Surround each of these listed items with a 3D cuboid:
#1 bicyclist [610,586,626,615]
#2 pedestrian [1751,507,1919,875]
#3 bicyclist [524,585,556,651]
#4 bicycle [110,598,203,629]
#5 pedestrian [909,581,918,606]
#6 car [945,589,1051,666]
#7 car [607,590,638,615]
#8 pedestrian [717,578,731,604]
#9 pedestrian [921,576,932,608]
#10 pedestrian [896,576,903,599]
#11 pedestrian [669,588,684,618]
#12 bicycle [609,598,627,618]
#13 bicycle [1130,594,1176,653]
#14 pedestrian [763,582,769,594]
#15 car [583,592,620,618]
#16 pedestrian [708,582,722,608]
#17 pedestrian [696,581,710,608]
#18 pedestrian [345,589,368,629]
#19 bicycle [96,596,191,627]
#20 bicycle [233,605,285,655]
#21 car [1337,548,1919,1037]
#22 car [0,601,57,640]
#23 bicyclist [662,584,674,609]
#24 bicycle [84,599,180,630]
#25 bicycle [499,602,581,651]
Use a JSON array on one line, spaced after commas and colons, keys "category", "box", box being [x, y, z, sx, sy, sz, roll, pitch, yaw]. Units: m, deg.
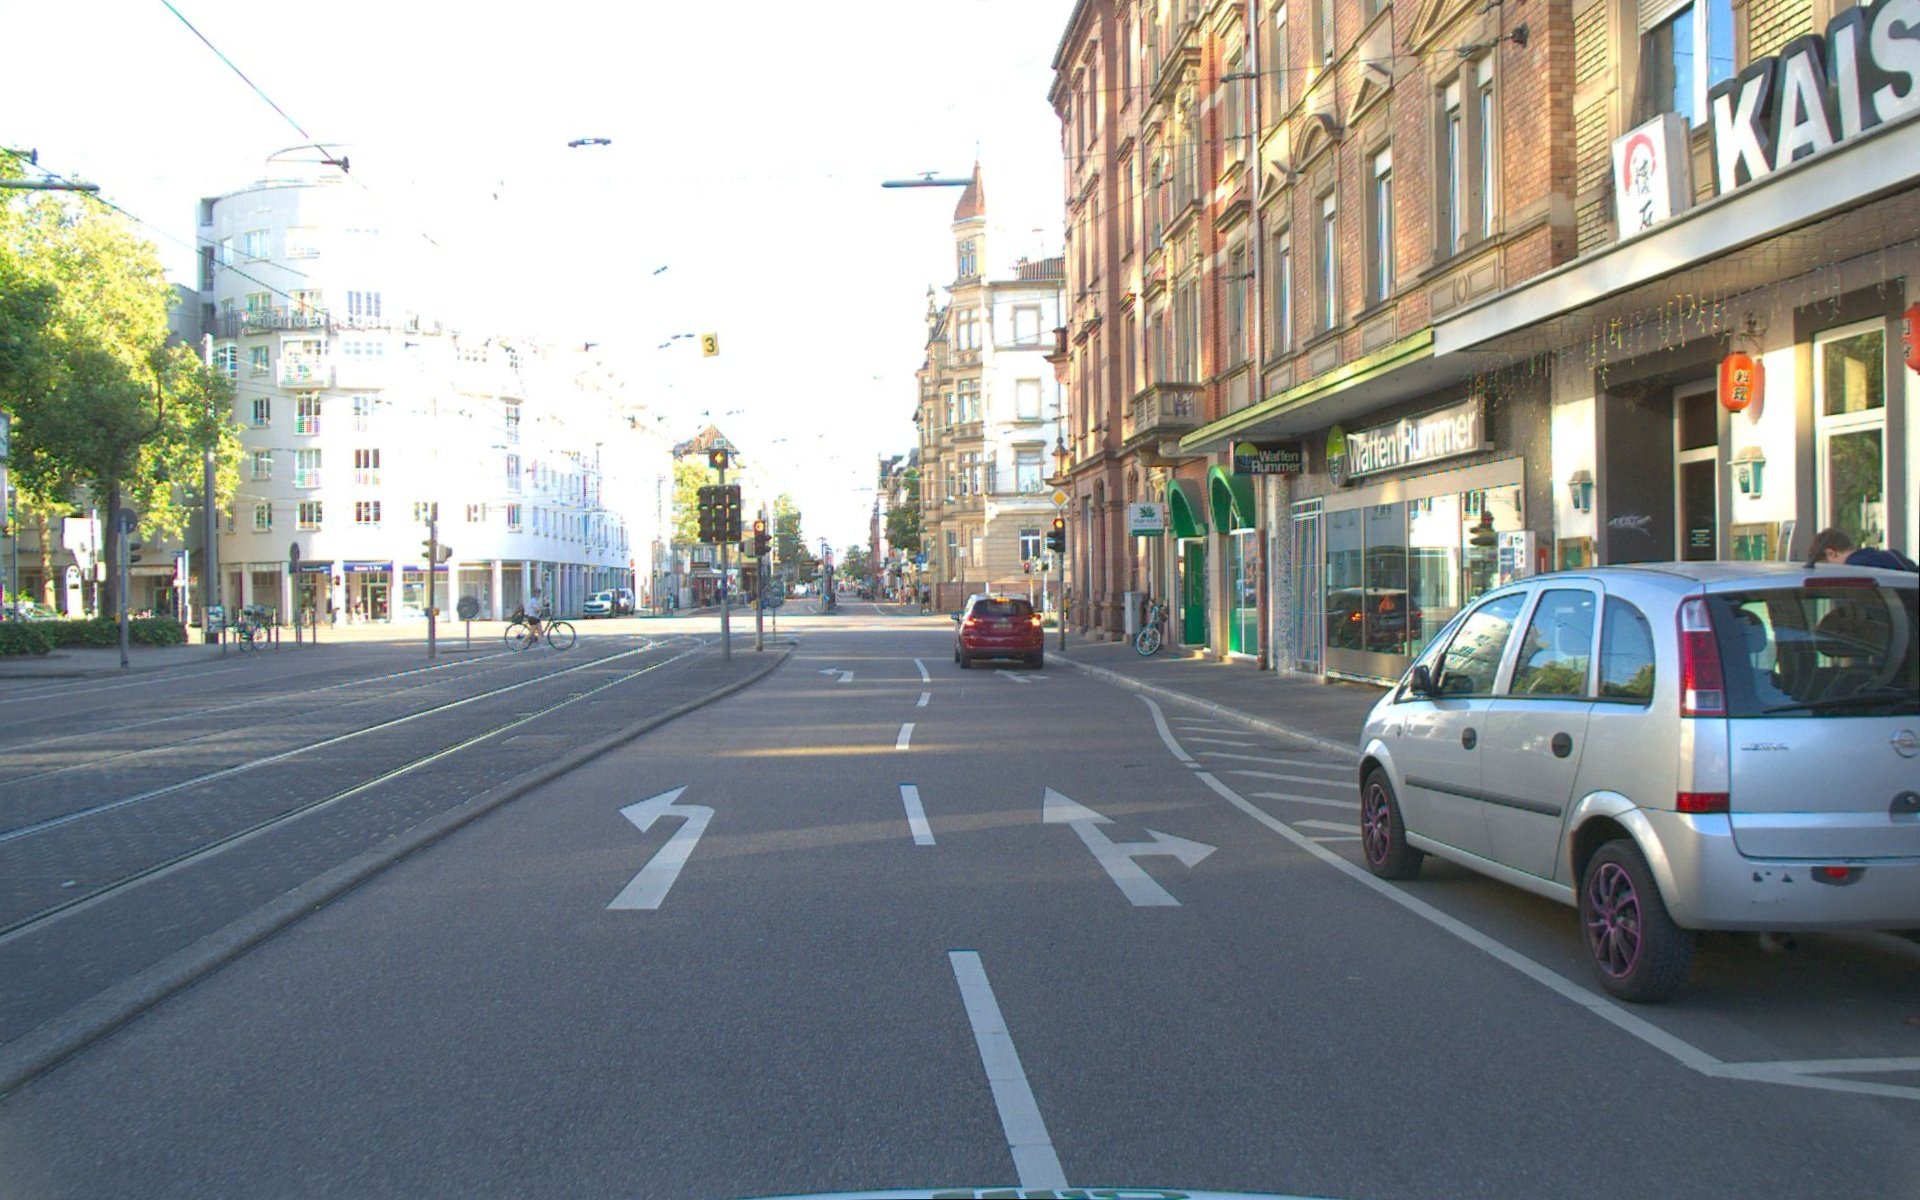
[{"category": "bicyclist", "box": [-20.821, 0.038, 100.685, 0.791, 1.756, 0.794, -1, 0, -4]}, {"category": "pedestrian", "box": [4.966, 0.433, 8.780, 0.928, 1.823, 1.054, -2, 0, -5]}, {"category": "bicyclist", "box": [-10.602, 0.448, 41.746, 0.716, 1.655, 0.764, -1, 0, -11]}, {"category": "bicycle", "box": [-44.856, 0.755, 92.316, 4.607, 1.556, 1.066, -1, 0, -1]}, {"category": "pedestrian", "box": [-3.801, -0.527, 135.549, 0.633, 2.049, 0.683, -1, 0, -4]}, {"category": "car", "box": [0.724, 0.520, 34.022, 1.720, 1.492, 3.940, 0, 0, -6]}, {"category": "car", "box": [-24.212, 0.154, 118.707, 1.668, 1.748, 3.561, -1, 1, -4]}, {"category": "pedestrian", "box": [-18.673, -0.741, 130.810, 1.025, 2.049, 0.958, -1, 0, -6]}, {"category": "pedestrian", "box": [-2.143, -0.494, 105.463, 0.638, 2.049, 0.759, -1, 0, -5]}, {"category": "pedestrian", "box": [-5.458, -1.123, 148.761, 0.565, 2.049, 0.631, -1, 0, 2]}, {"category": "pedestrian", "box": [-17.233, 0.180, 100.559, 0.753, 1.761, 0.572, -1, 0, -2]}, {"category": "bicycle", "box": [-20.806, 0.471, 100.582, 0.792, 1.167, 2.048, -1, 1, -4]}, {"category": "bicycle", "box": [4.157, 0.493, 35.549, 0.700, 1.172, 1.656, -3, 1, 14]}, {"category": "pedestrian", "box": [-26.313, -1.623, 224.247, 0.619, 1.632, 0.575, -1, 0, -20]}, {"category": "car", "box": [-23.259, 0.308, 107.394, 1.730, 1.573, 3.459, -1, 1, -3]}, {"category": "pedestrian", "box": [-19.819, -0.392, 133.926, 1.025, 2.049, 0.958, -1, 0, -6]}, {"category": "pedestrian", "box": [-19.898, -0.454, 127.981, 0.937, 2.049, 1.048, -1, 0, -4]}, {"category": "pedestrian", "box": [-31.587, 0.451, 86.628, 0.935, 2.049, 0.930, -1, 0, -32]}, {"category": "bicycle", "box": [-44.773, 0.632, 90.766, 4.607, 1.556, 1.066, -1, 0, -1]}, {"category": "bicycle", "box": [-19.697, 0.832, 46.484, 0.657, 1.350, 1.906, 2, 1, -1]}, {"category": "car", "box": [3.156, 0.630, 7.622, 1.606, 1.643, 3.940, 0, 0, -6]}, {"category": "car", "box": [-41.173, 0.910, 71.084, 3.919, 1.586, 1.632, -2, 1, 9]}, {"category": "bicyclist", "box": [-22.505, -0.259, 127.415, 0.792, 1.853, 0.993, -1, 0, -4]}, {"category": "bicycle", "box": [-44.869, 0.776, 89.625, 4.607, 1.556, 1.066, -1, 0, -1]}, {"category": "bicycle", "box": [-10.683, 0.679, 42.137, 1.982, 1.198, 0.626, -1, 0, -11]}]
